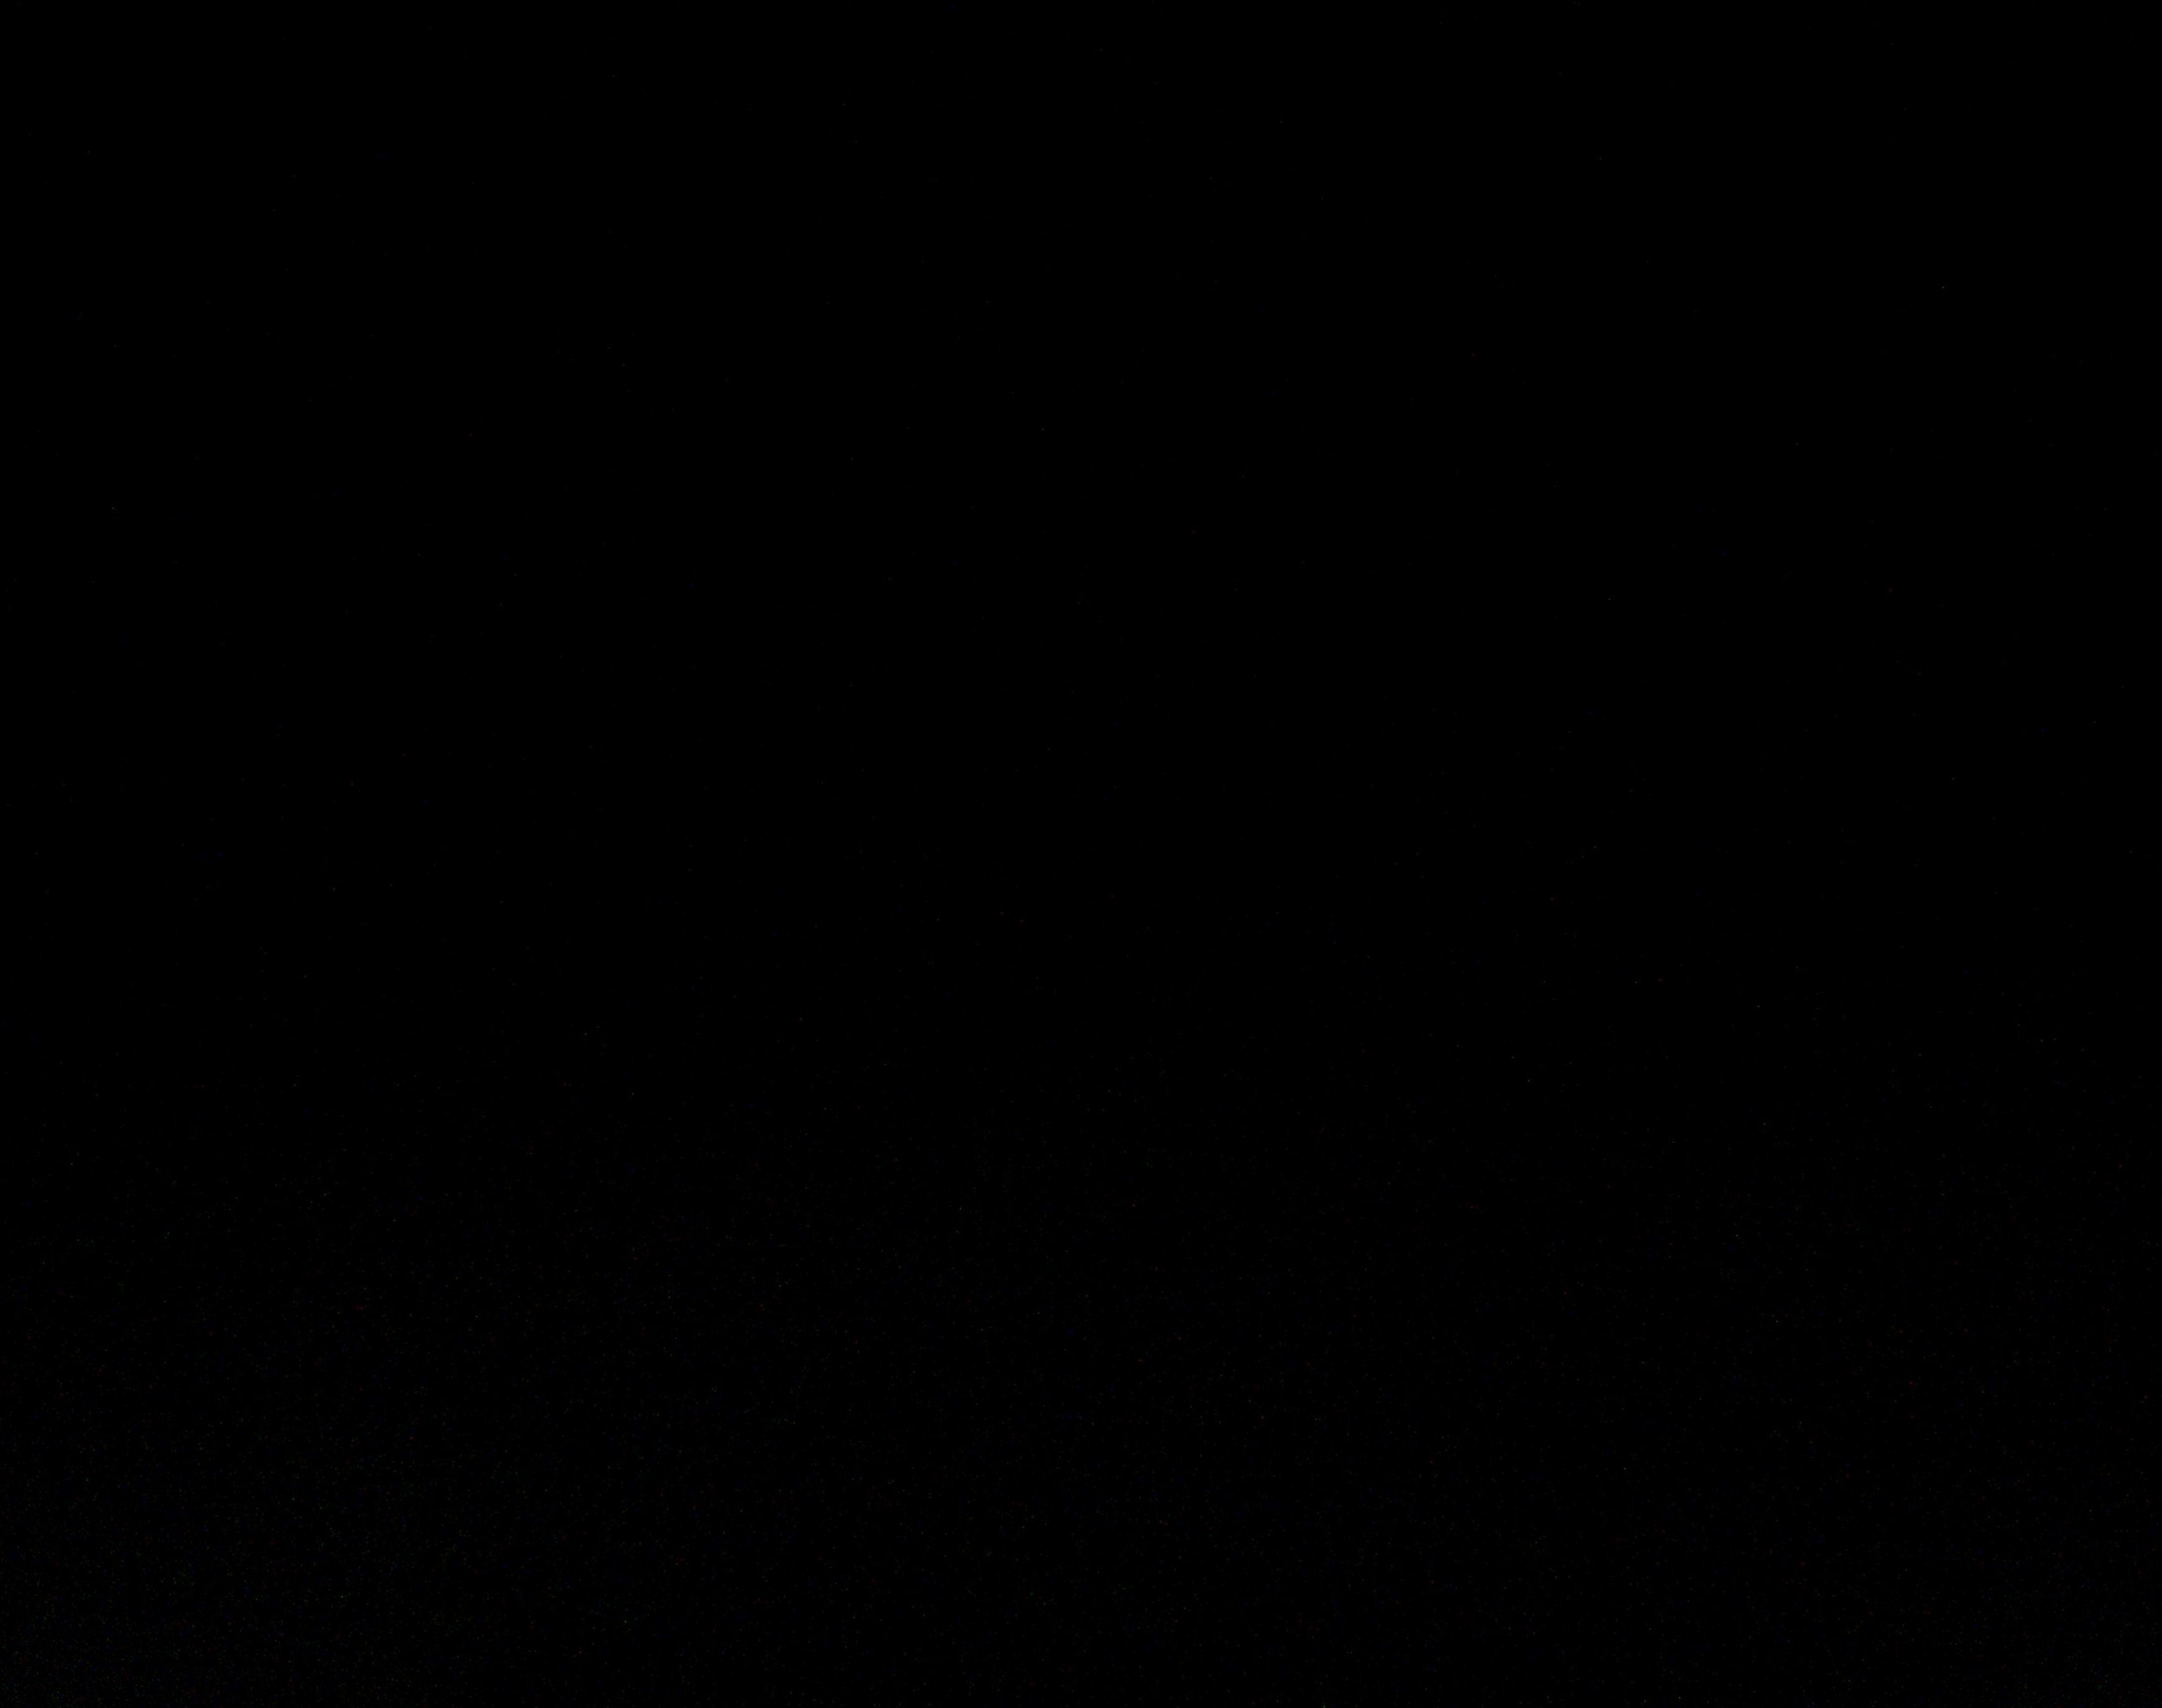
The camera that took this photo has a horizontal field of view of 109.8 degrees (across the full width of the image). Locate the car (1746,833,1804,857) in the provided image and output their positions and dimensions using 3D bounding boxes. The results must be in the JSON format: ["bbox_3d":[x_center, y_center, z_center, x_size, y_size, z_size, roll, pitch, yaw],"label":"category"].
[{"bbox_3d":[53.021,-0.685,58.149,1.784,1.747,4.005,1,1,18],"label":"car"}]
